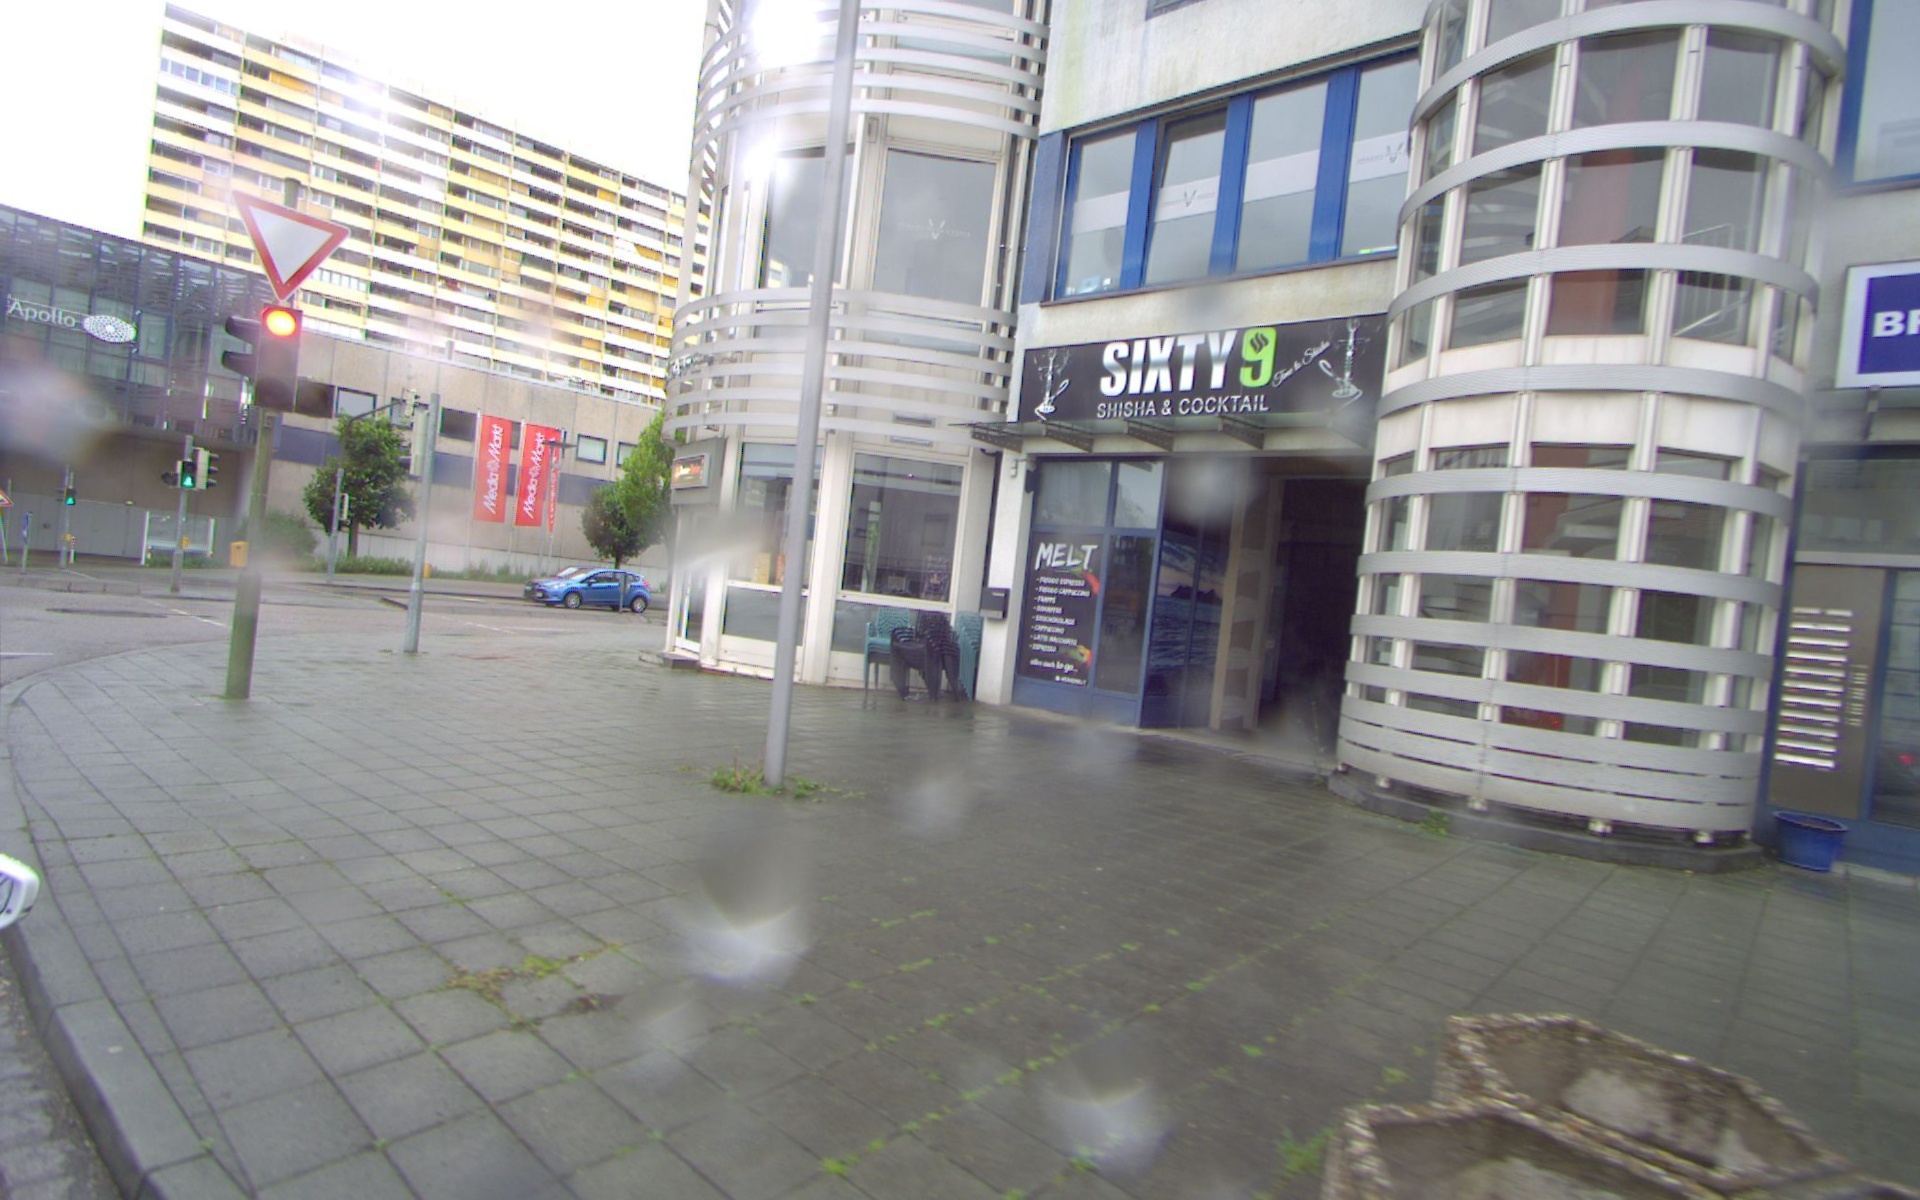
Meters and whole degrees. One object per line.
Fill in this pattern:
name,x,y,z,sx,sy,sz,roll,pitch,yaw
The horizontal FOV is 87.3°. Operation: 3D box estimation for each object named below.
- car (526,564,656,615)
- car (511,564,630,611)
car,-12.647,-0.325,34.654,1.656,1.415,3.835,5,0,41
car,-14.373,-0.444,37.269,1.721,1.412,3.675,5,0,43
